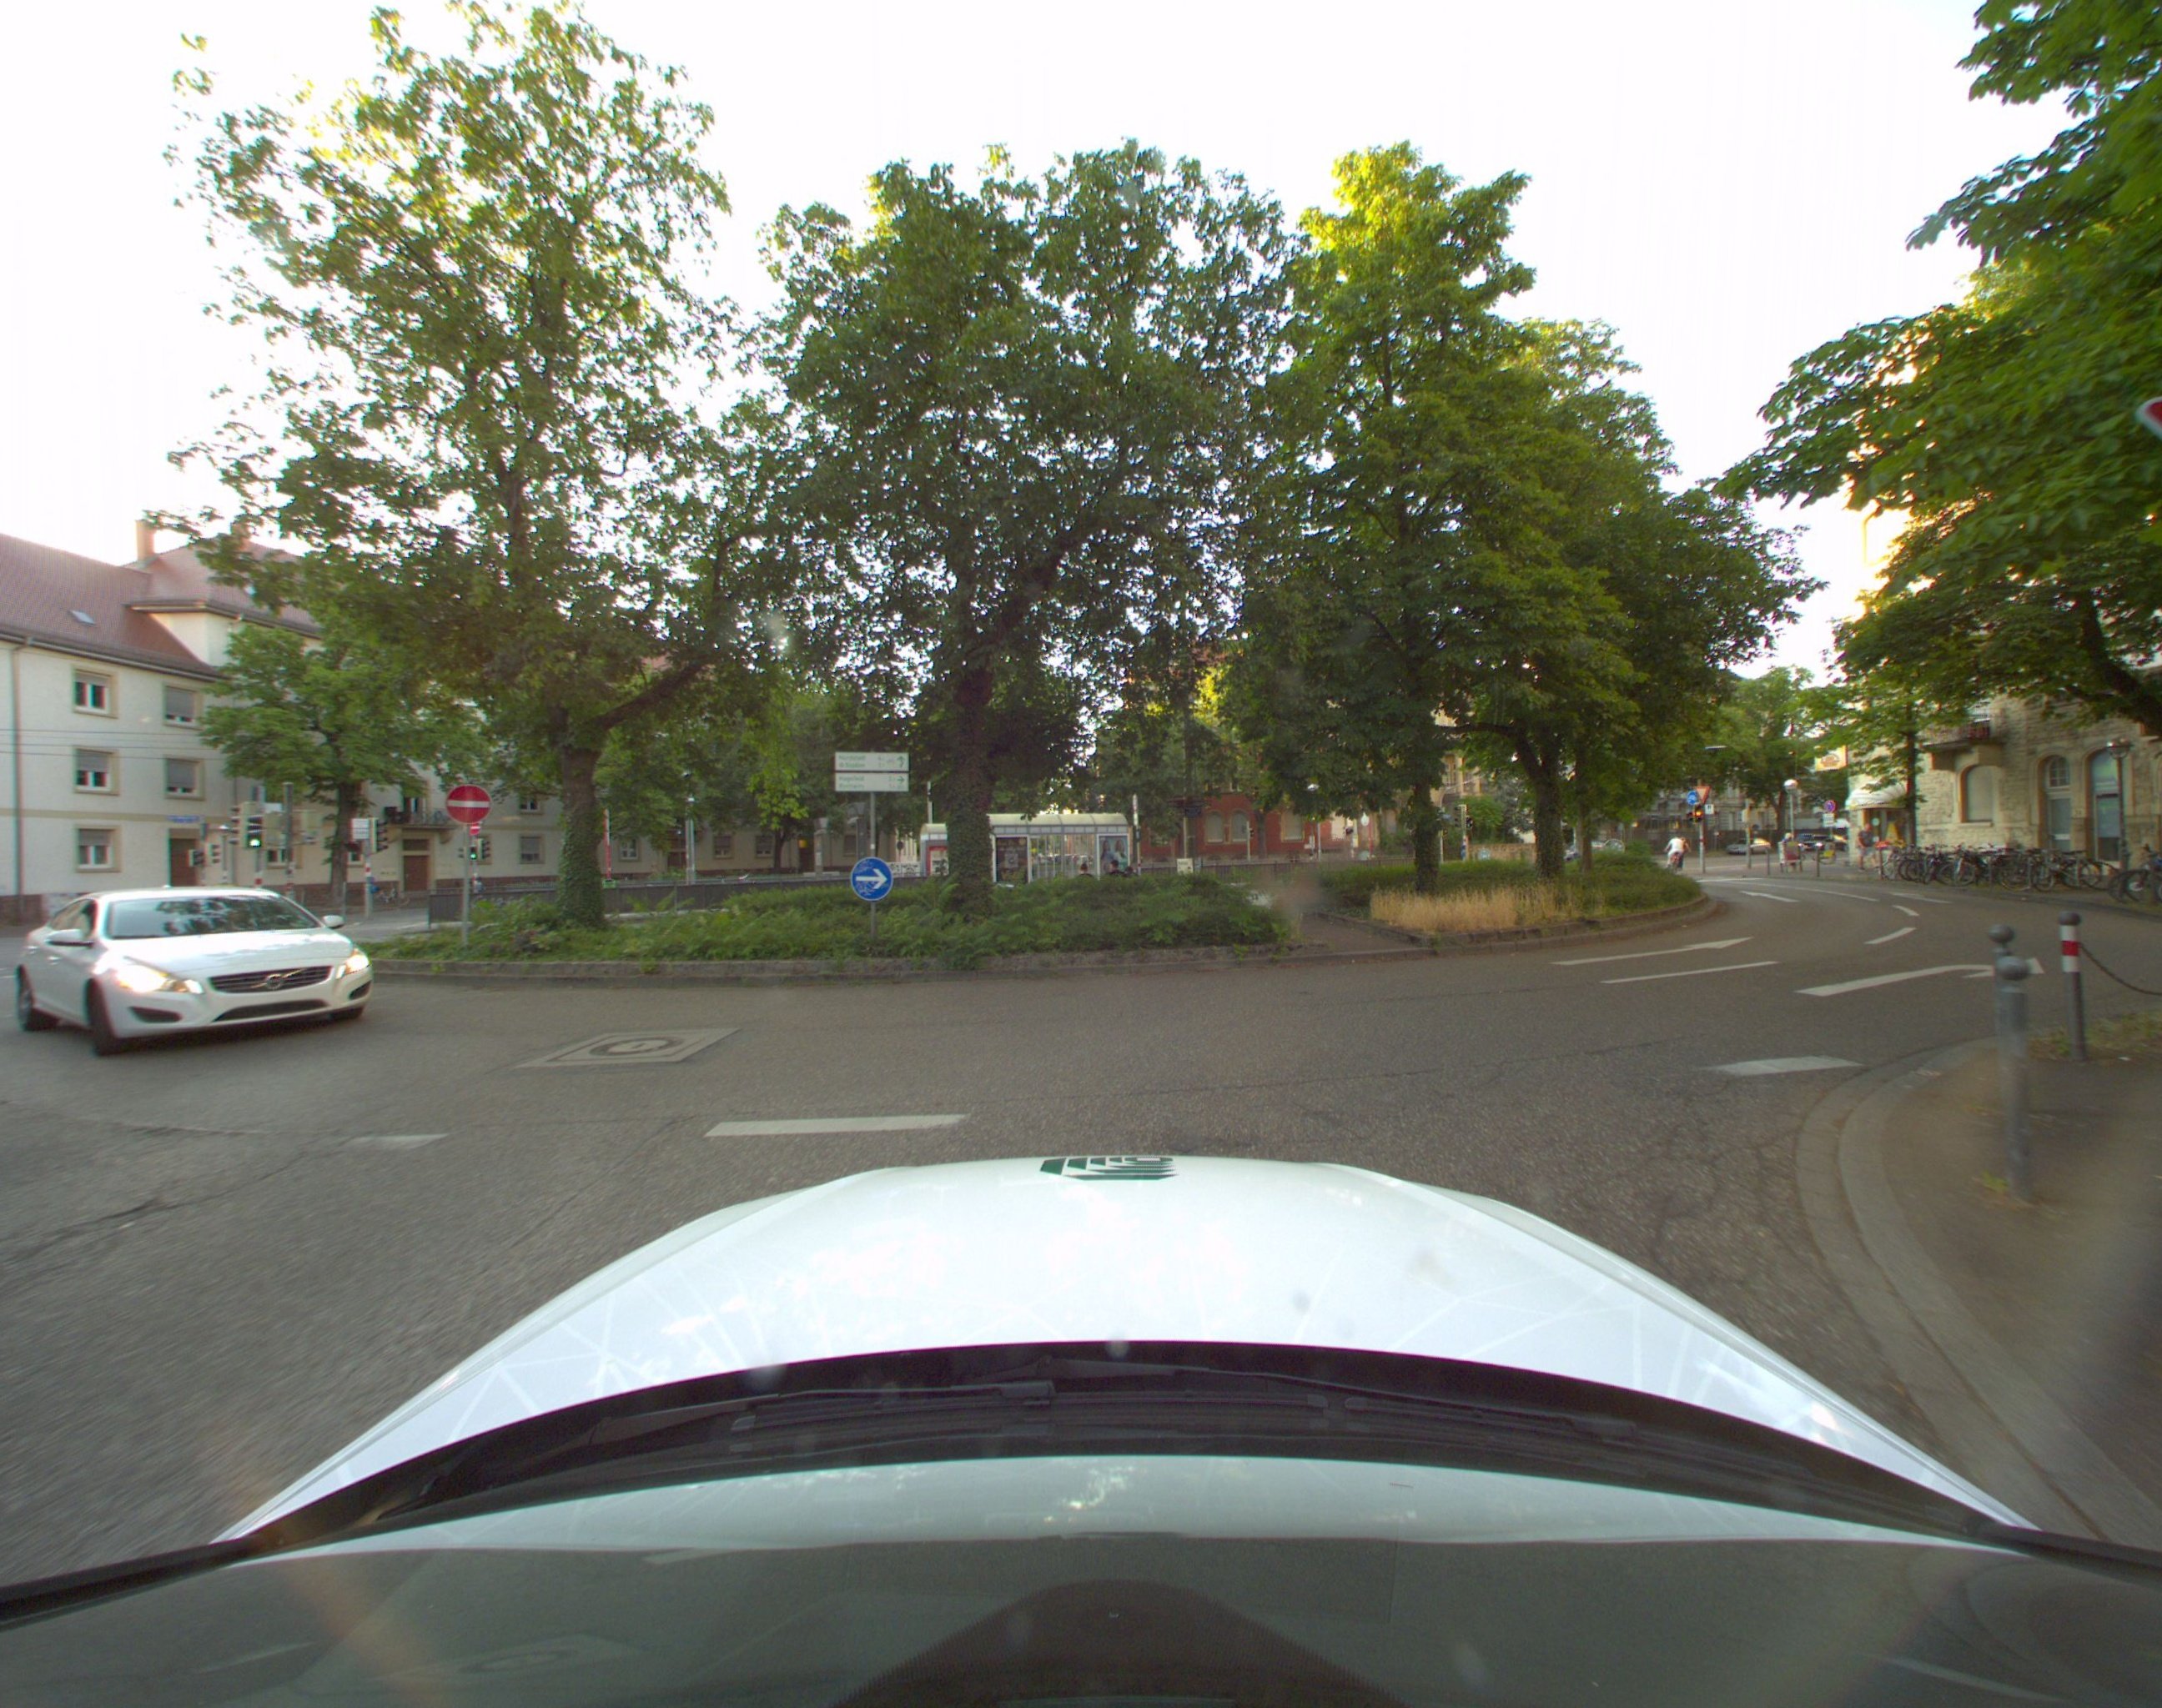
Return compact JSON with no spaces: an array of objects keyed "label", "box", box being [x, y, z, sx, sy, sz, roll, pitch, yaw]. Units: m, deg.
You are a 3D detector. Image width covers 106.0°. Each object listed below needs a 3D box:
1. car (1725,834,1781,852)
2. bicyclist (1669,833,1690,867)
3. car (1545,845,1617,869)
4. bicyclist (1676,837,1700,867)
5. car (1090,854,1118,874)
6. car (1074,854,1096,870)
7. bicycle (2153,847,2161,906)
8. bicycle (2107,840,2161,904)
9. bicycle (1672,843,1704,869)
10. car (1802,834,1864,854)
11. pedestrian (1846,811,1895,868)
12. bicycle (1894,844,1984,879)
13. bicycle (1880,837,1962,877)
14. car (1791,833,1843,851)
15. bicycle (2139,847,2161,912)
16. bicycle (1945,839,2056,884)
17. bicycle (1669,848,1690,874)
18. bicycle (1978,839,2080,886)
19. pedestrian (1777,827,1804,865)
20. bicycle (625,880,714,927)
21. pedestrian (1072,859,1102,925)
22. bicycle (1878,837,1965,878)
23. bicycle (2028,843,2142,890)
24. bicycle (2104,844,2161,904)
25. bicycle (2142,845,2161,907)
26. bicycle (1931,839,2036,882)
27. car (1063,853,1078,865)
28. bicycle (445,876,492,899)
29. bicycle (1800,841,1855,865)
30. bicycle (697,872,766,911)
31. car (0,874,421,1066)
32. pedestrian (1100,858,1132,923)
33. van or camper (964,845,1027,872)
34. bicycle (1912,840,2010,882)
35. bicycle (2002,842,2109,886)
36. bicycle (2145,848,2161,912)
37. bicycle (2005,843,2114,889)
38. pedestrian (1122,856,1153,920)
[{"label":"car","box":[58.253,-0.928,70.572,4.641,1.426,1.993,-2,0,-26]},{"label":"bicyclist","box":[25.432,-0.158,34.614,0.691,1.411,0.870,-2,0,37]},{"label":"car","box":[34.321,0.190,55.890,4.422,1.510,1.936,-2,0,-22]},{"label":"bicyclist","box":[29.789,-0.109,39.954,0.787,1.461,0.692,-1,0,-36]},{"label":"car","box":[2.033,0.876,71.885,1.990,1.703,4.712,0,0,-4]},{"label":"car","box":[0.396,0.834,88.119,1.990,1.703,4.712,0,0,-4]},{"label":"bicycle","box":[21.260,0.398,14.986,1.834,1.104,0.576,-2,0,18]},{"label":"bicycle","box":[21.265,0.342,15.616,1.861,1.217,0.495,-2,-6,42]},{"label":"bicycle","box":[29.797,0.104,39.959,1.871,1.236,0.692,-2,0,-36]},{"label":"car","box":[62.043,-0.810,67.219,4.635,1.510,1.936,-2,0,-22]},{"label":"pedestrian","box":[29.811,-0.545,30.773,1.001,2.085,1.067,-3,0,27]},{"label":"bicycle","box":[26.337,0.230,25.026,1.788,1.038,0.702,-2,0,15]},{"label":"bicycle","box":[27.492,0.097,26.667,1.775,1.236,0.653,-2,0,13]},{"label":"car","box":[67.649,-1.083,74.836,4.171,1.482,1.936,-2,0,-22]},{"label":"bicycle","box":[20.427,0.447,14.482,1.832,1.131,0.421,-2,-19,42]},{"label":"bicycle","box":[25.226,0.209,22.382,1.868,1.162,0.709,-2,0,25]},{"label":"bicycle","box":[25.445,0.274,34.609,0.691,1.055,1.804,-2,0,37]},{"label":"bicycle","box":[24.588,0.235,21.157,1.653,1.127,0.489,-2,6,33]},{"label":"pedestrian","box":[34.289,-0.394,39.362,0.859,1.794,0.930,-2,0,37]},{"label":"bicycle","box":[-11.341,1.352,22.502,2.119,1.151,0.680,-2,0,-27]},{"label":"pedestrian","box":[0.132,0.844,18.311,0.614,1.431,0.655,-2,0,-2]},{"label":"bicycle","box":[26.641,0.114,25.842,1.774,1.236,0.702,-2,0,15]},{"label":"bicycle","box":[23.893,0.300,19.408,1.655,1.078,0.489,-2,0,24]},{"label":"bicycle","box":[21.572,0.385,15.932,1.861,1.139,0.495,0,4,28]},{"label":"bicycle","box":[20.755,0.396,14.732,1.832,1.144,0.421,-2,0,42]},{"label":"bicycle","box":[25.530,0.201,23.086,1.868,1.162,0.644,-2,0,25]},{"label":"car","box":[-1.572,0.737,123.617,1.990,1.703,4.712,0,0,-4]},{"label":"bicycle","box":[-33.470,1.831,44.524,0.677,1.151,1.932,-2,0,31]},{"label":"bicycle","box":[36.529,-0.056,39.891,1.854,1.130,0.736,-2,0,29]},{"label":"bicycle","box":[-10.426,1.104,24.319,1.859,1.051,0.542,-2,0,-25]},{"label":"car","box":[-9.528,1.047,8.809,4.779,1.517,2.012,-2,0,29]},{"label":"pedestrian","box":[0.782,0.807,18.334,0.614,1.431,0.655,-2,0,-2]},{"label":"van or camper","box":[-10.270,0.546,97.770,7.360,3.083,2.666,0,0,-8]},{"label":"bicycle","box":[25.708,0.199,23.820,1.871,1.162,0.643,-2,0,15]},{"label":"bicycle","box":[24.745,0.262,20.713,1.654,1.078,0.489,-2,0,31]},{"label":"bicycle","box":[20.251,0.455,14.267,1.832,1.093,0.421,-2,-19,42]},{"label":"bicycle","box":[23.939,0.296,19.954,1.655,1.078,0.489,-2,0,24]},{"label":"pedestrian","box":[1.302,0.761,18.804,0.614,1.431,0.655,-2,0,-2]}]
